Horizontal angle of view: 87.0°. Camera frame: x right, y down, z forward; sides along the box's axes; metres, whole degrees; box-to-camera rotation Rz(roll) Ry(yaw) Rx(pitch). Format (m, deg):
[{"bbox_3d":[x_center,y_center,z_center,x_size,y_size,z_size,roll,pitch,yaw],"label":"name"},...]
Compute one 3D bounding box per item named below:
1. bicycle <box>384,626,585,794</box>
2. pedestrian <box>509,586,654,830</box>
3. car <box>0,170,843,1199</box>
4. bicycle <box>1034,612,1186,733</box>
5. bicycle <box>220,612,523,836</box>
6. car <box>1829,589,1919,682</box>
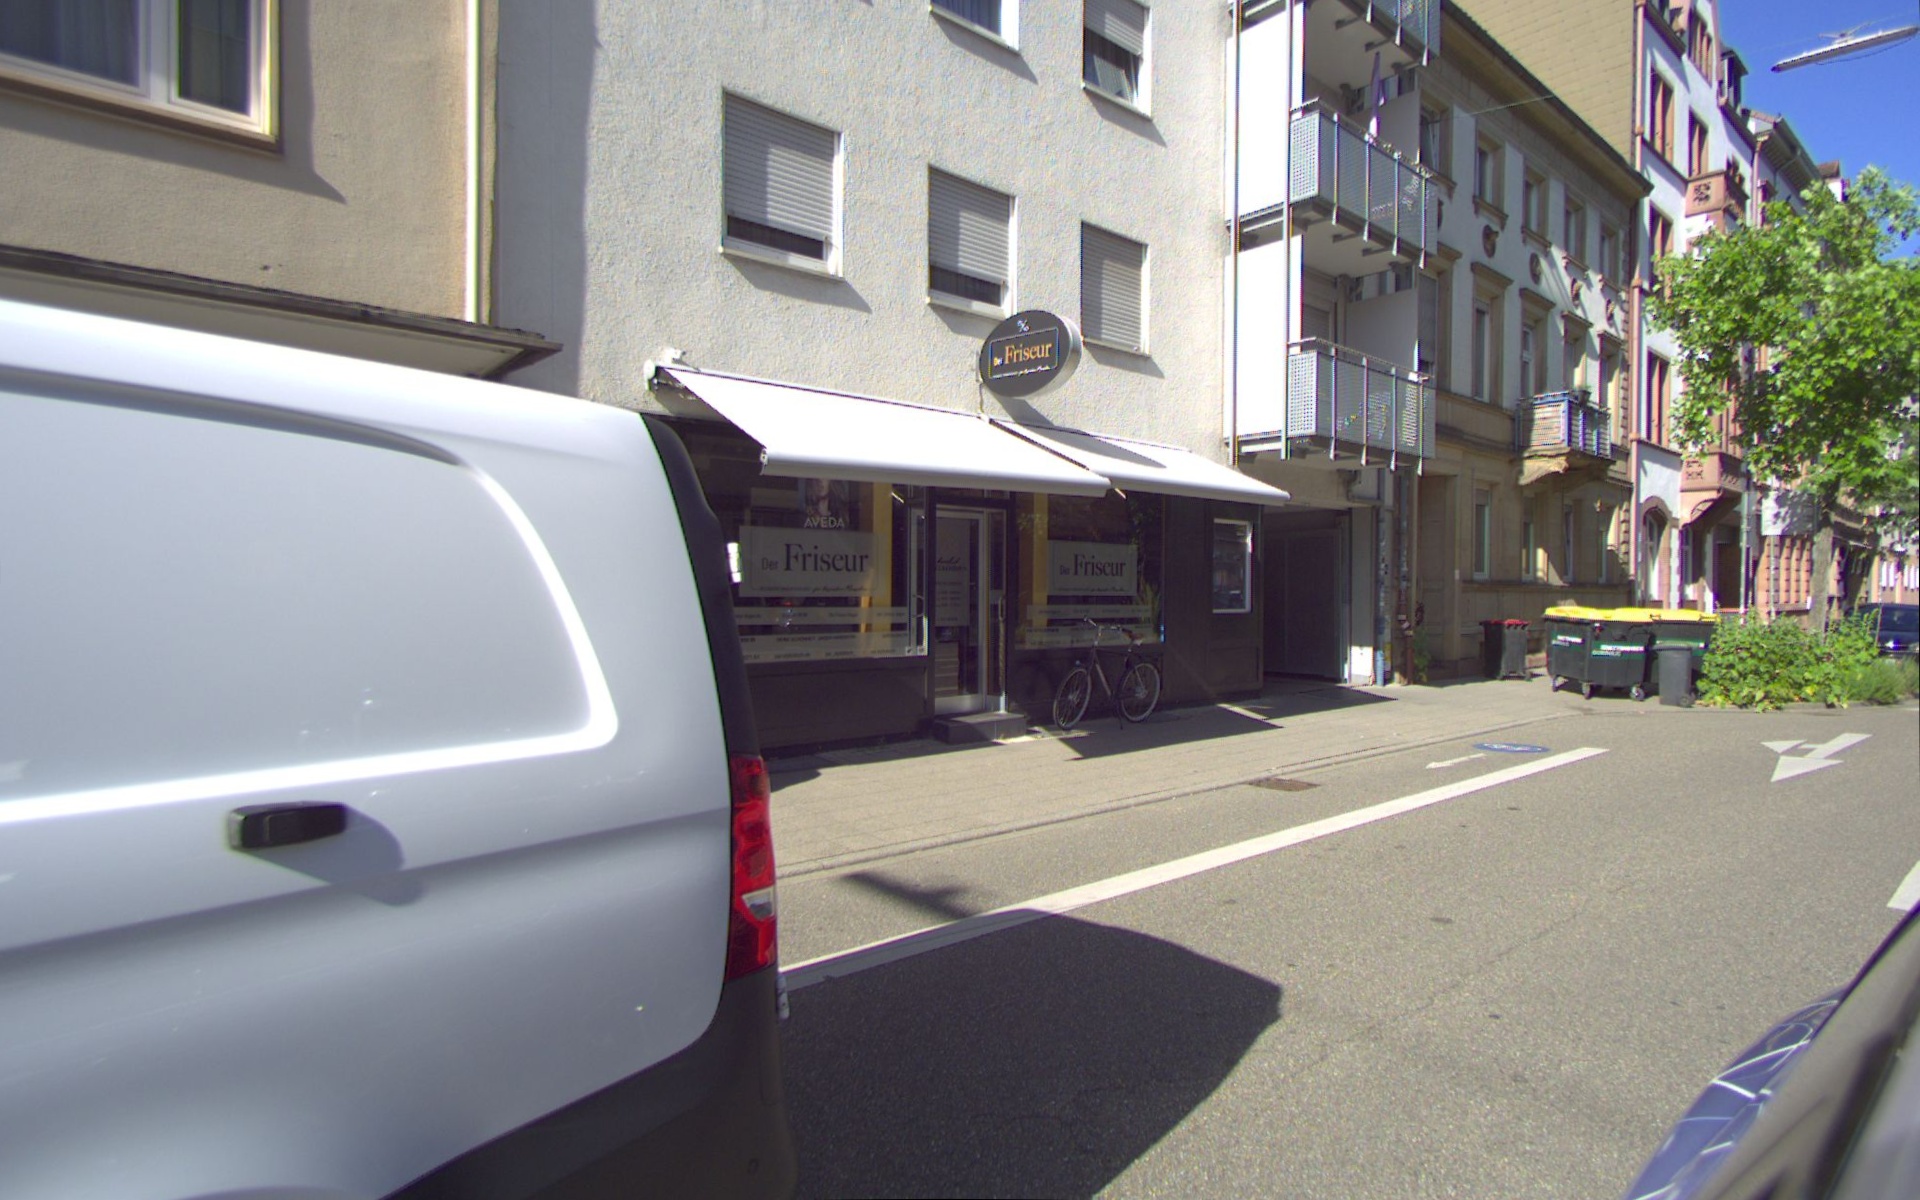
[{"bbox_3d":[-3.144,0.687,6.743,1.155,0.995,0.375,0,1,-43],"label":"bicycle"},{"bbox_3d":[-2.473,0.646,6.595,0.774,1.460,0.615,1,1,45],"label":"pedestrian"},{"bbox_3d":[-2.604,0.493,0.832,4.750,1.833,1.971,-1,1,-42],"label":"car"},{"bbox_3d":[1.658,0.743,11.020,1.743,1.157,0.598,0,3,-41],"label":"bicycle"},{"bbox_3d":[-3.375,0.653,5.834,1.475,1.120,0.719,1,0,18],"label":"bicycle"},{"bbox_3d":[17.800,0.604,19.106,3.485,1.616,1.626,0,1,-41],"label":"car"}]
